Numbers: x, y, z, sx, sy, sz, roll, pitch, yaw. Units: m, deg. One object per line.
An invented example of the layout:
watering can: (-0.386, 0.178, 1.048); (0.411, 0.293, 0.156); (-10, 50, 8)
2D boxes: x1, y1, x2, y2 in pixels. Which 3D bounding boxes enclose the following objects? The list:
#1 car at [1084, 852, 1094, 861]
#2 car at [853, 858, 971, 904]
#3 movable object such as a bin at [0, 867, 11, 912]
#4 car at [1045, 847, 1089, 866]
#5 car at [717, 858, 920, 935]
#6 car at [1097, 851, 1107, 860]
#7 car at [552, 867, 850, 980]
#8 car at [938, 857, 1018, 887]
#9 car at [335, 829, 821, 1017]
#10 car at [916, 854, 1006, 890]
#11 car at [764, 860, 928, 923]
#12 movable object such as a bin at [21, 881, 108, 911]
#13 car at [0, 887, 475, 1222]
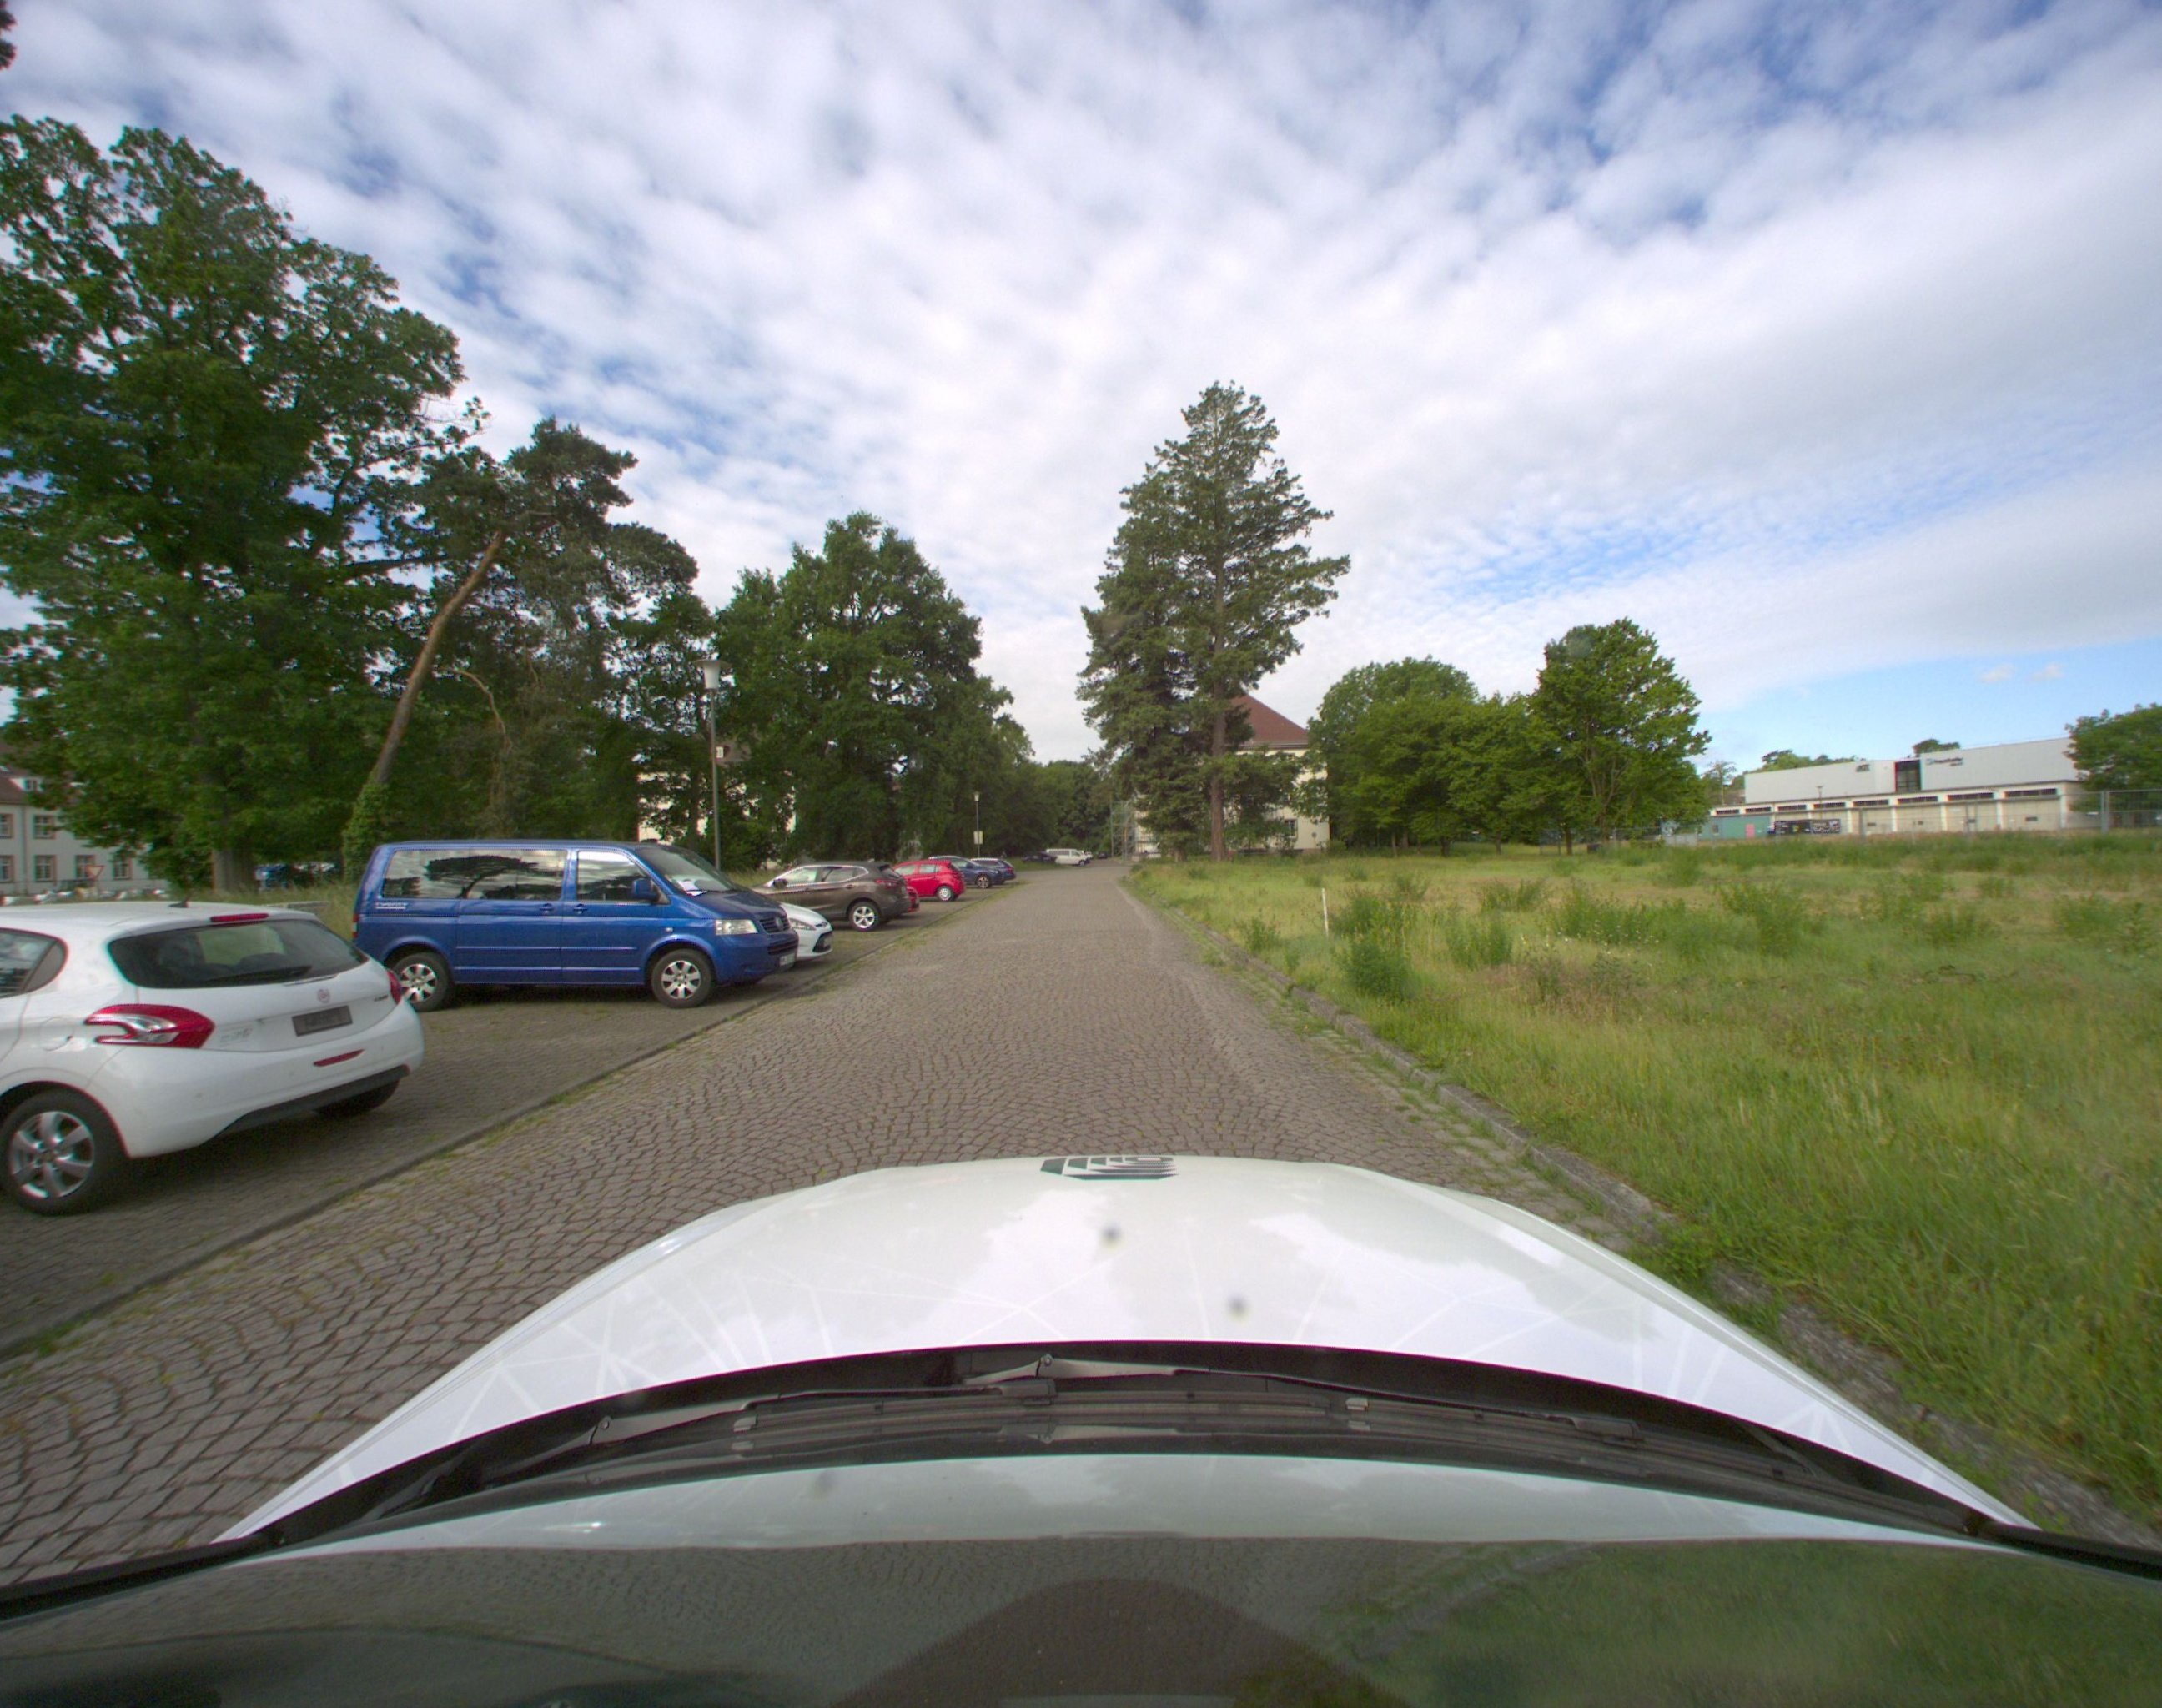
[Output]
car: (1.549, 0.448, 159.340); (1.785, 1.636, 4.058); (-2, -1, -1)
car: (-6.024, 0.960, 29.342); (3.804, 1.489, 1.787); (-2, 0, -1)
movable object such as a bin: (-90.071, 2.975, 65.969); (6.068, 3.642, 2.151); (-3, -2, 17)
car: (-1.552, 0.328, 93.285); (4.964, 2.073, 2.051); (-1, -2, -1)
car: (-6.016, 0.952, 19.028); (4.056, 1.575, 1.953); (-2, 0, -1)
car: (4.165, 0.313, 159.677); (1.785, 1.720, 4.058); (-2, -1, -1)
car: (-5.775, 1.025, 12.737); (3.784, 1.493, 1.724); (-2, 0, -3)
car: (-5.556, 0.956, 44.291); (4.053, 1.467, 1.627); (-1, 0, 3)
car: (-5.957, 0.762, 10.158); (4.695, 1.980, 2.037); (-2, 0, -1)
car: (-5.792, 0.864, 39.593); (4.060, 1.604, 1.786); (-2, 0, -2)
car: (-6.204, 0.971, 21.814); (3.803, 1.486, 1.761); (-2, 0, 0)
movable object such as a bin: (-84.204, 3.480, 67.479); (4.486, 2.254, 2.383); (-2, -2, 5)
car: (-6.316, 1.040, 4.856); (3.990, 1.501, 1.843); (-1, 0, 1)
